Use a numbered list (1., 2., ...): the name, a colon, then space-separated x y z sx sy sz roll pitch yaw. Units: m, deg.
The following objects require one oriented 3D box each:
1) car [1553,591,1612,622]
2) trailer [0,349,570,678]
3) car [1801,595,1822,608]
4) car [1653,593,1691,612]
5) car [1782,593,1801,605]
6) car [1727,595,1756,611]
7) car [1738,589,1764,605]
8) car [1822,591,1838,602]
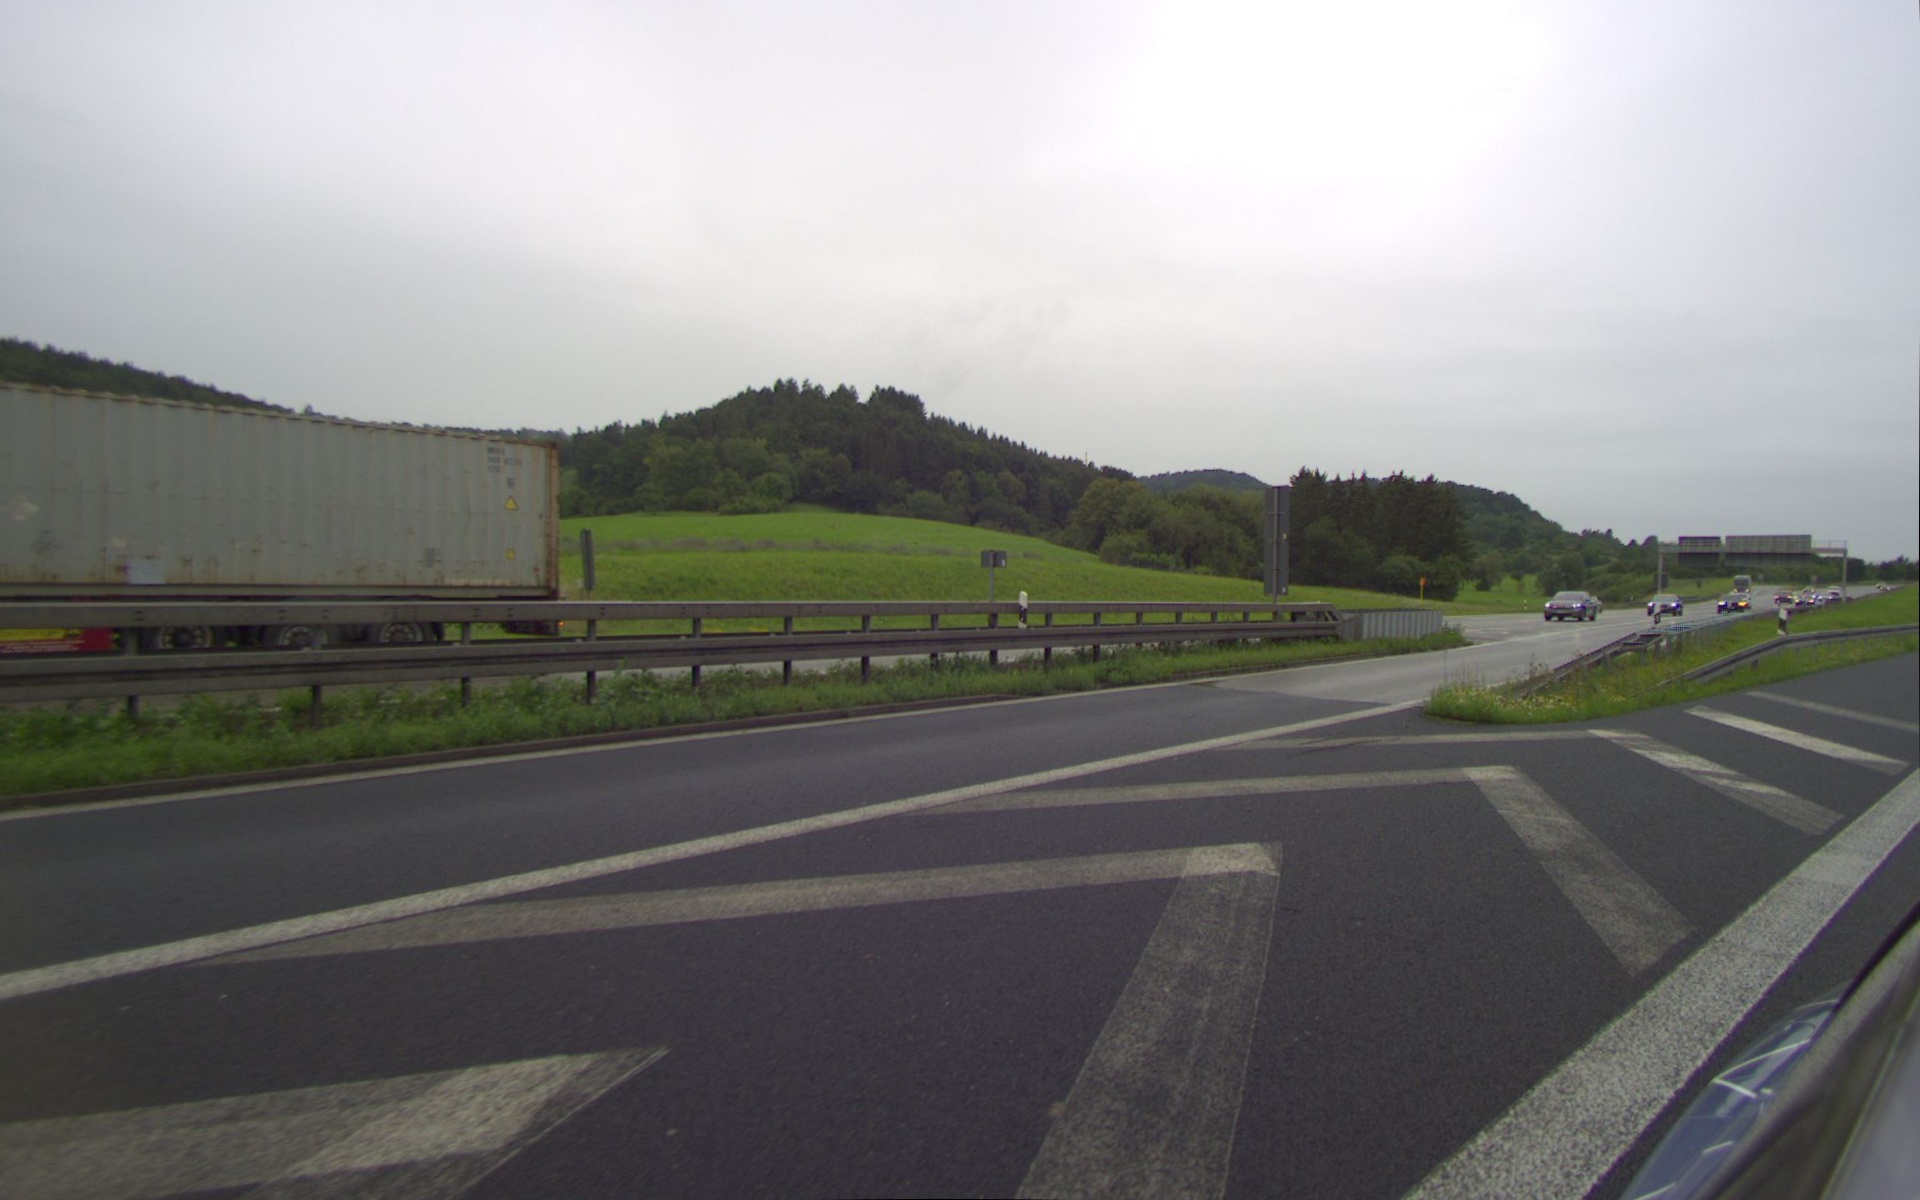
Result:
1. car: 34.262 0.316 55.659 4.567 1.630 1.771 -1 0 -45
2. trailer: -11.815 -1.053 13.660 2.605 3.943 12.289 0 0 45
3. car: 114.011 0.220 135.458 1.908 1.715 4.646 0 0 43
4. car: 53.411 0.161 75.877 4.058 1.400 1.668 -1 0 -44
5. car: 124.058 -0.207 150.933 1.908 1.715 4.646 0 0 43
6. car: 69.115 0.270 89.468 1.860 1.374 4.501 0 0 40
7. car: 89.831 -0.329 114.879 1.908 1.715 4.646 0 0 43
8. car: 146.660 -0.565 170.513 1.908 1.715 4.646 0 0 43
